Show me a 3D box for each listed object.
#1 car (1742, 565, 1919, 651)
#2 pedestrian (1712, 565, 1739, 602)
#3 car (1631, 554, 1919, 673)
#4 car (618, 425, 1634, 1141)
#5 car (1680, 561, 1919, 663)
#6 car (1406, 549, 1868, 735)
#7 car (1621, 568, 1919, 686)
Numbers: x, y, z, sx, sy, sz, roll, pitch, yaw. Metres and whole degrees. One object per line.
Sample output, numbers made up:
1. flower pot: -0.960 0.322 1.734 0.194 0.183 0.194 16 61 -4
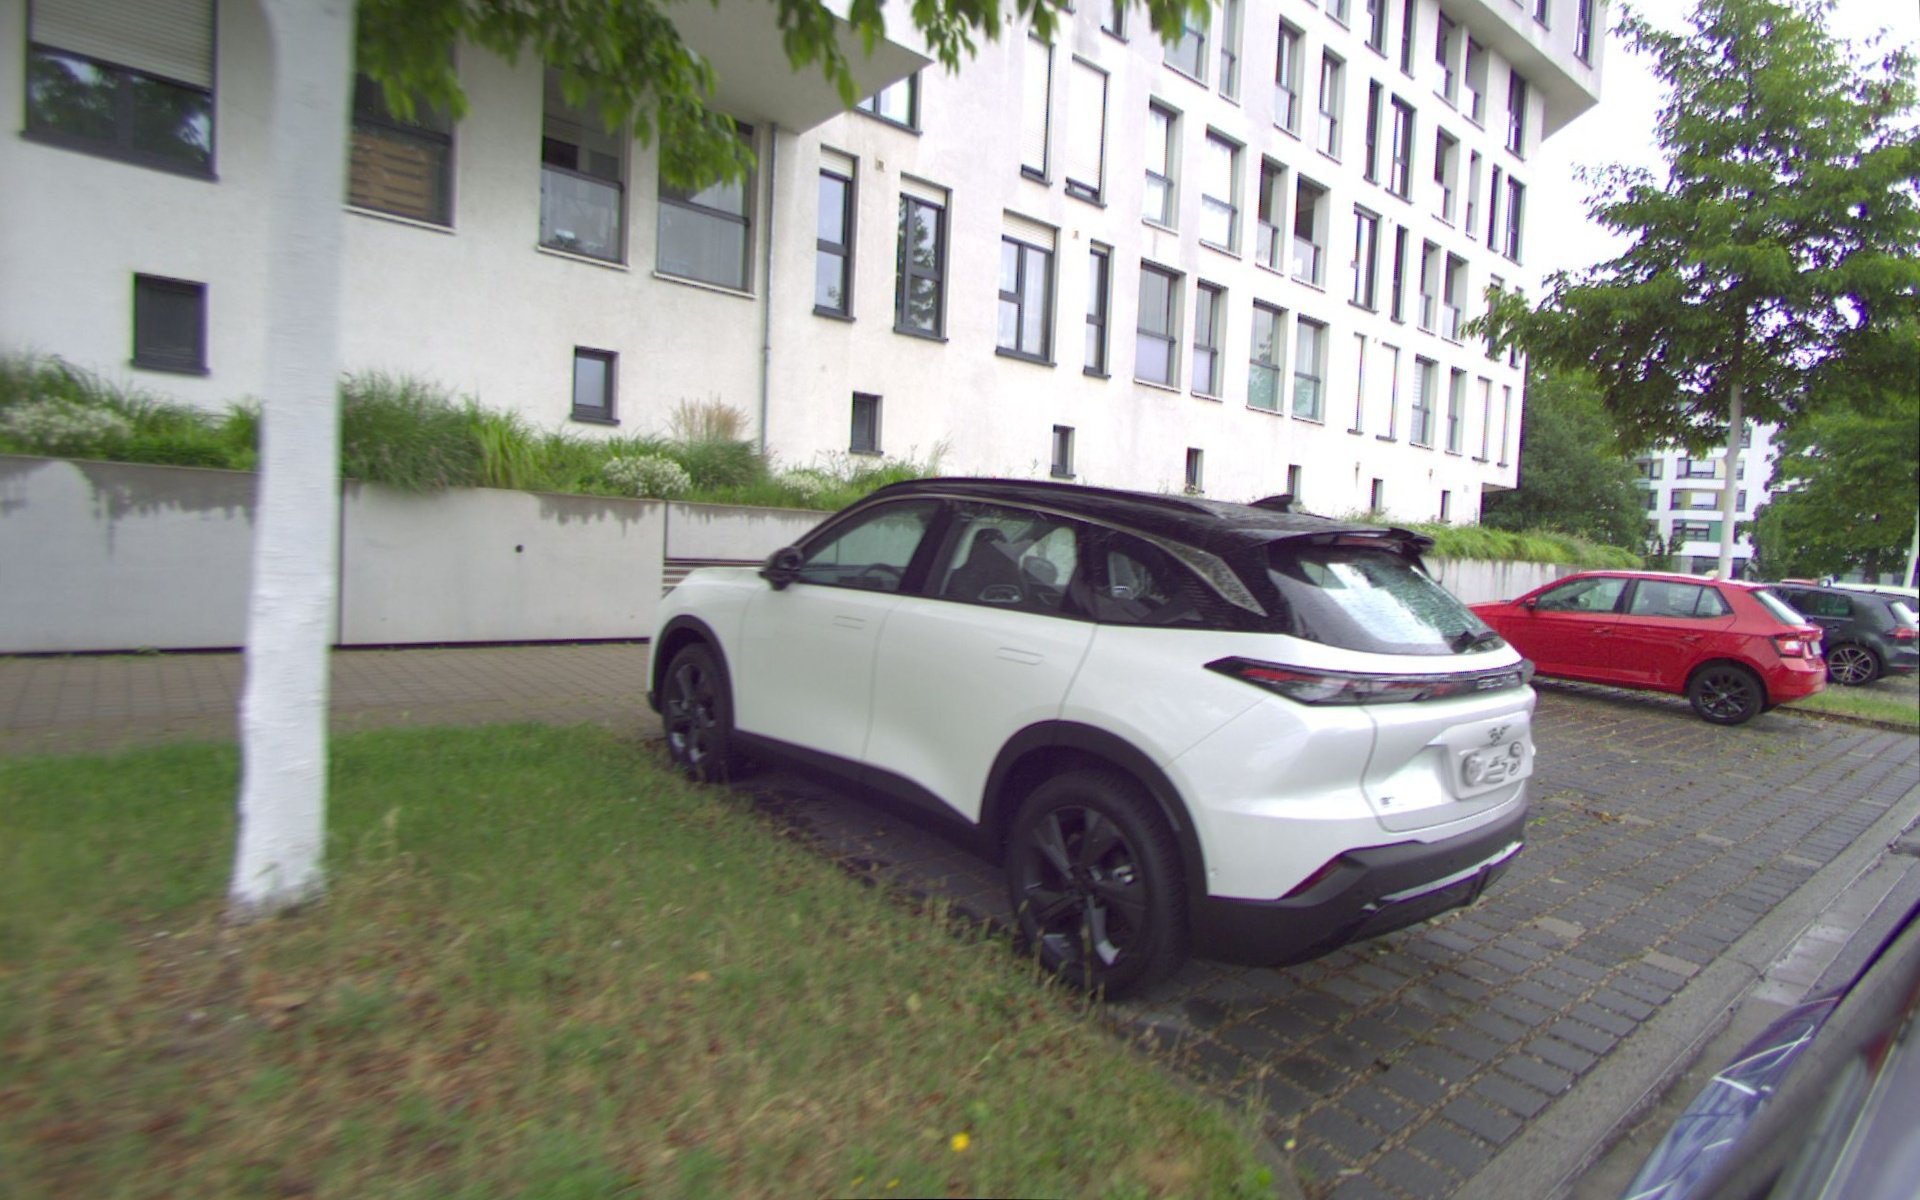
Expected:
1. car: 20.475 0.226 22.457 1.793 1.514 4.584 0 7 -40
2. pedestrian: 42.762 -0.919 56.543 0.611 2.037 0.968 1 4 -39
3. car: 14.861 0.147 18.411 1.605 1.573 4.001 0 7 -39
4. car: 0.227 0.201 4.878 1.854 1.703 4.553 0 10 -42
5. car: 17.069 0.214 19.784 1.662 1.498 4.502 0 7 -40
6. car: 7.586 0.303 11.681 1.789 1.468 3.999 -2 8 -40
7. car: 13.233 0.349 16.342 1.564 1.492 3.965 0 5 -42
